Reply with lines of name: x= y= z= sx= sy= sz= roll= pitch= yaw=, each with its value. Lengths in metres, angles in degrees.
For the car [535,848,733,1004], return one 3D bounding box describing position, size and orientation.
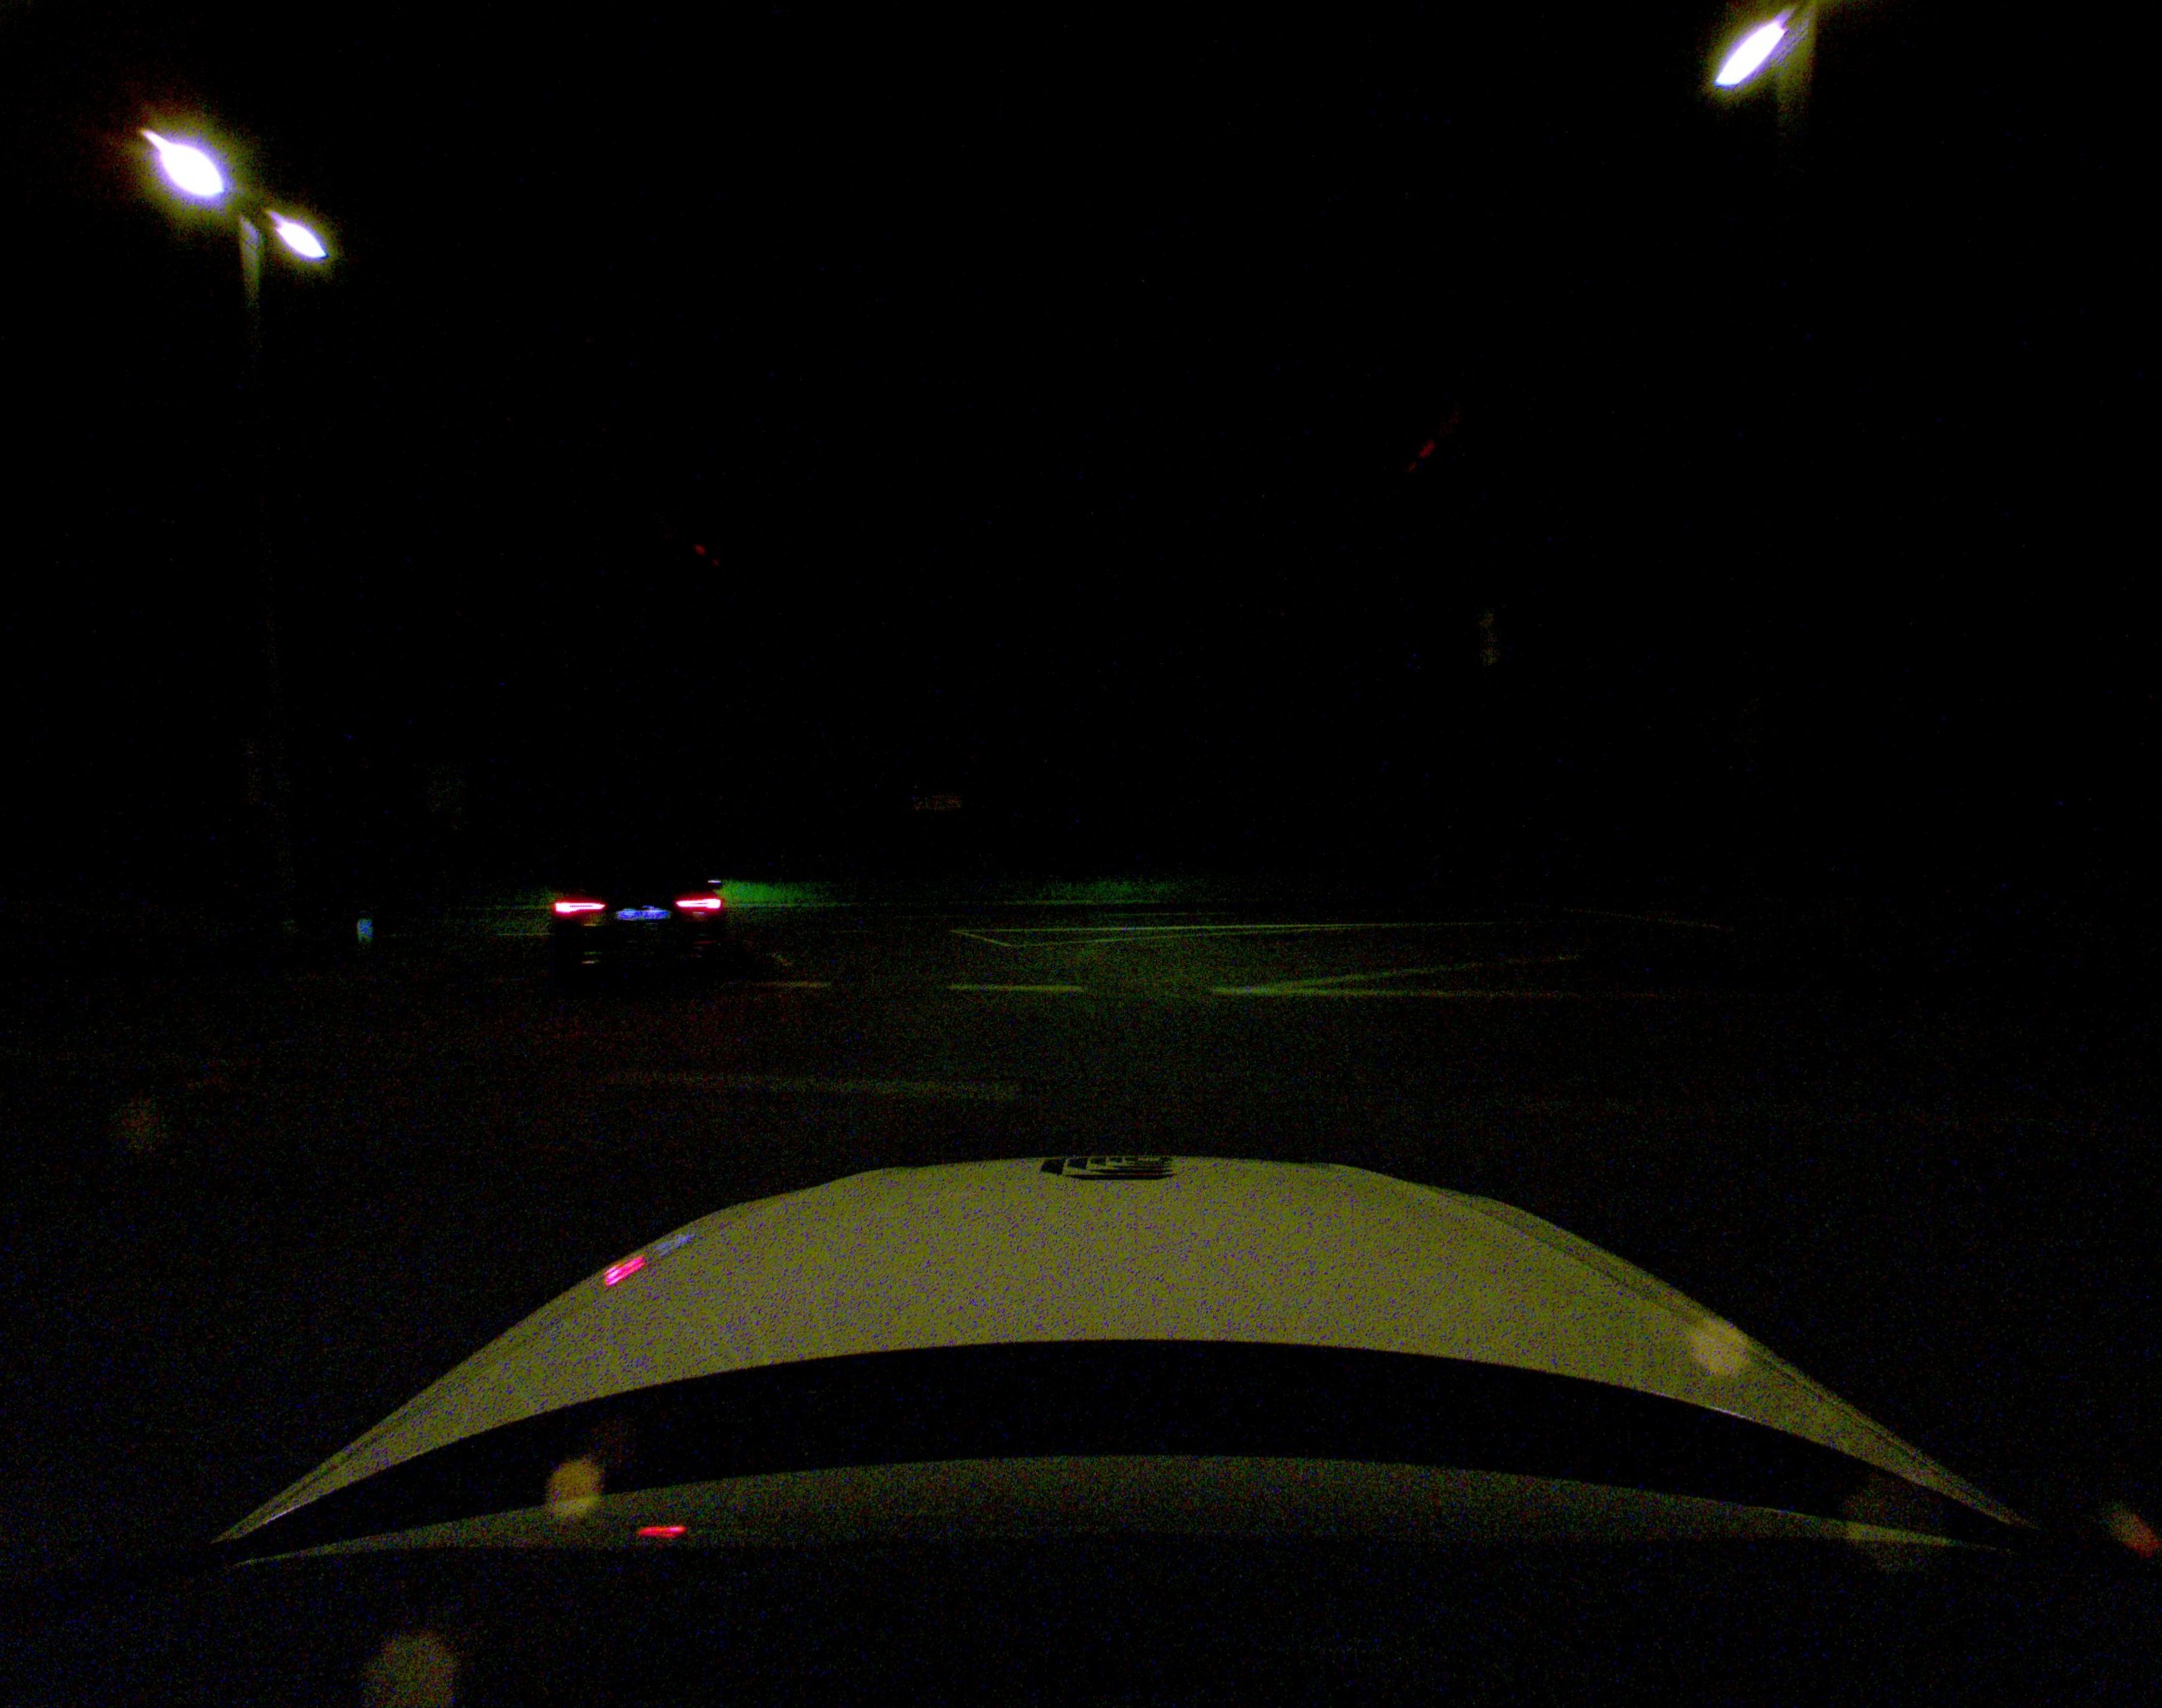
car: x=-5.712 y=0.740 z=10.675 sx=1.862 sy=1.582 sz=3.972 roll=-2 pitch=1 yaw=-26
